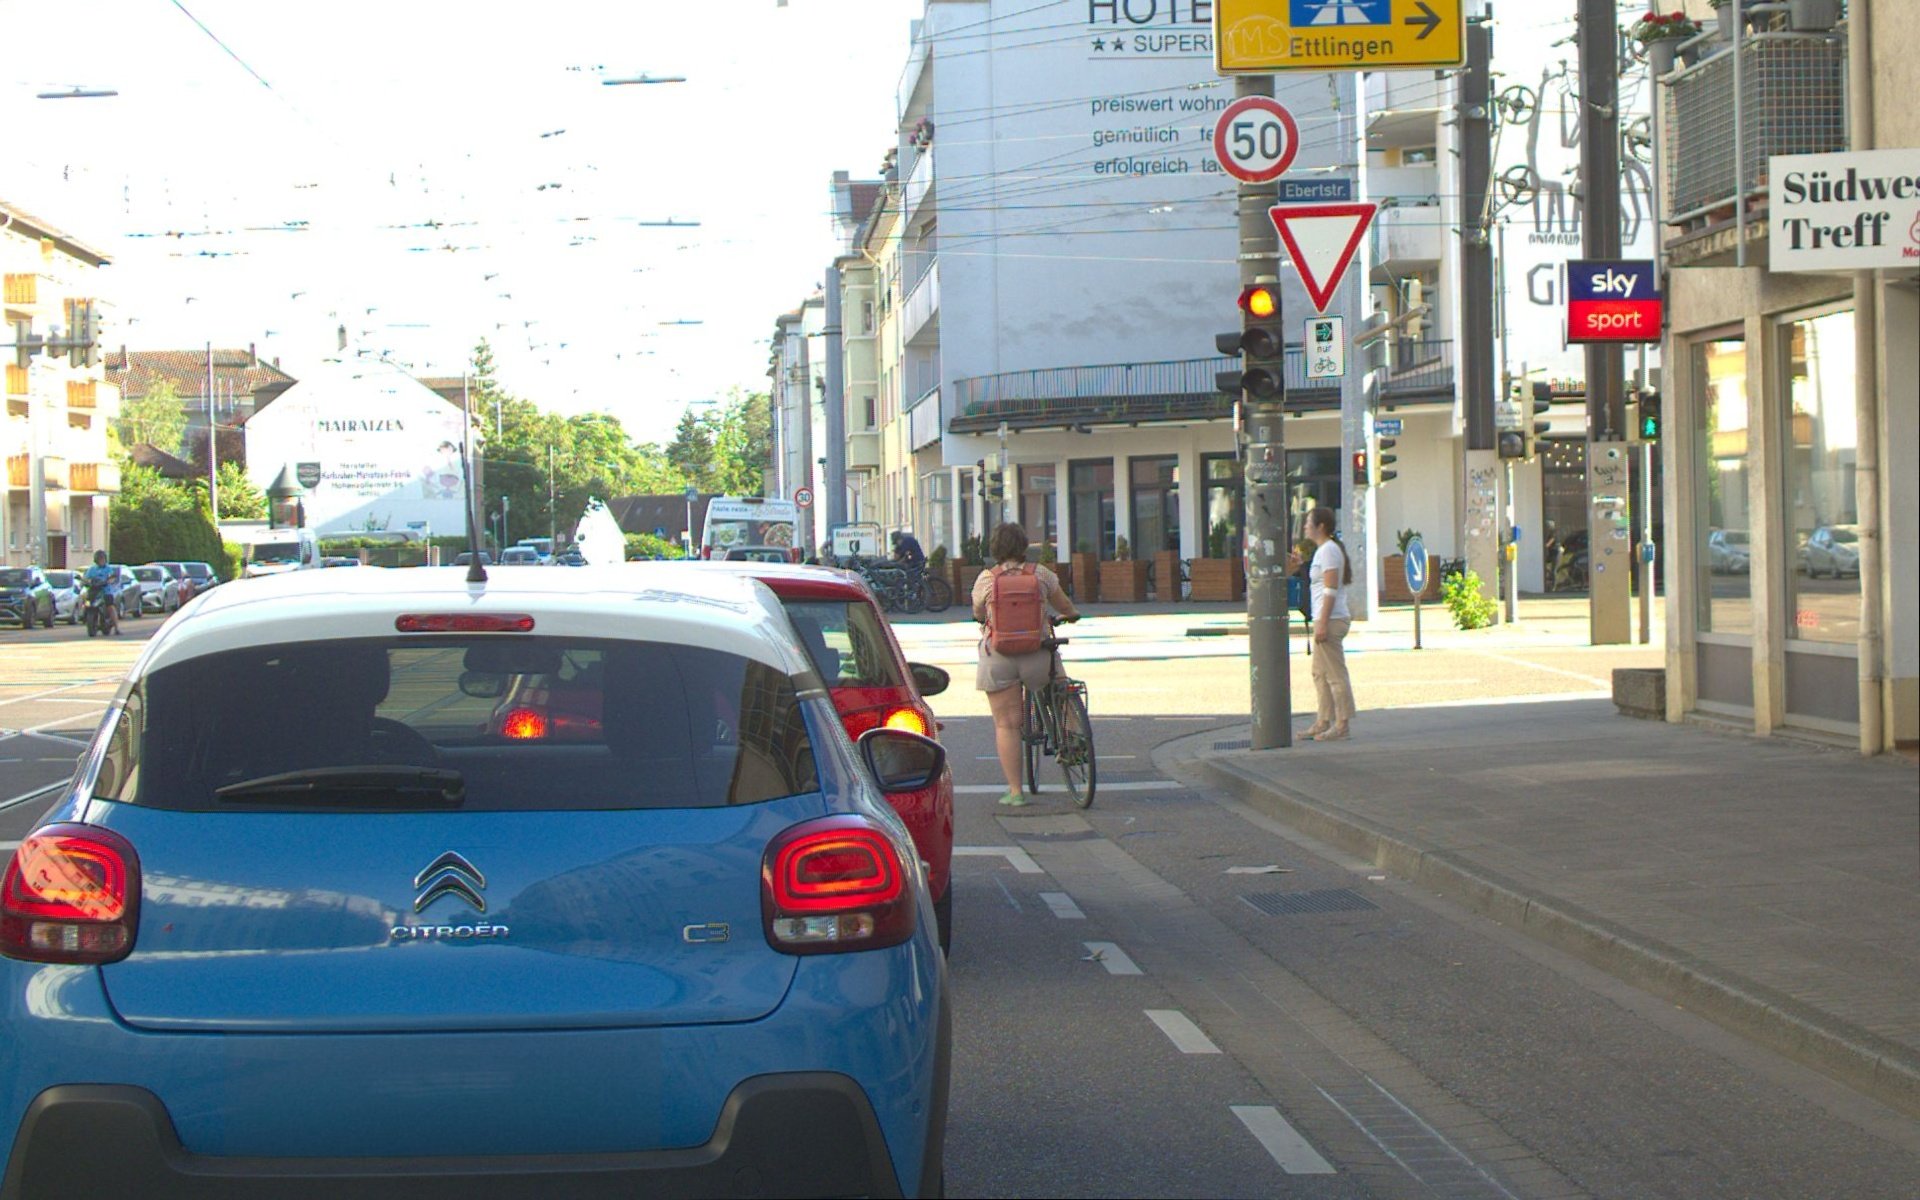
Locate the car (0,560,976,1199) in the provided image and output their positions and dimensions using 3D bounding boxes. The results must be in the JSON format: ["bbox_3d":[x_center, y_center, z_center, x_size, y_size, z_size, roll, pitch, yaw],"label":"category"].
[{"bbox_3d":[-0.957,0.669,7.385,1.680,1.457,4.001,0,1,-4],"label":"car"}]

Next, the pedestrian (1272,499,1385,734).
[{"bbox_3d":[2.609,0.106,24.385,0.751,1.629,0.740,-1,1,6],"label":"pedestrian"}]

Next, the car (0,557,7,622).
[{"bbox_3d":[-23.320,-0.194,79.234,1.950,1.514,4.001,-1,1,-6],"label":"car"}]

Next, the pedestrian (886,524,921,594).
[{"bbox_3d":[-1.152,-0.848,70.268,0.525,1.415,0.546,-1,1,20],"label":"pedestrian"}]

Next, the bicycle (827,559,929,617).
[{"bbox_3d":[-1.606,-0.238,67.130,1.904,1.061,0.642,-1,1,-7],"label":"bicycle"}]

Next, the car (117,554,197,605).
[{"bbox_3d":[-25.359,-0.673,108.666,1.950,1.514,4.001,-1,1,-6],"label":"car"}]

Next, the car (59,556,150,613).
[{"bbox_3d":[-24.458,-0.459,98.383,1.950,1.514,4.001,-1,1,-6],"label":"car"}]

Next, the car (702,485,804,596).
[{"bbox_3d":[-4.432,-1.279,73.250,2.079,2.262,5.652,0,1,-4],"label":"car"}]

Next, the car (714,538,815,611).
[{"bbox_3d":[-3.881,-0.517,67.815,1.786,1.354,3.915,-1,1,-6],"label":"car"}]

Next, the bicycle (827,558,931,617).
[{"bbox_3d":[-1.557,-0.244,65.824,1.904,1.061,0.642,-1,1,-7],"label":"bicycle"}]

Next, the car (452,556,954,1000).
[{"bbox_3d":[-1.004,0.577,13.594,1.680,1.457,4.001,0,1,-4],"label":"car"}]

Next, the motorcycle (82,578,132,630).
[{"bbox_3d":[-16.693,0.072,67.296,0.751,0.973,2.098,-1,1,-9],"label":"motorcycle"}]

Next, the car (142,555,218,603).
[{"bbox_3d":[-26.069,-0.722,115.008,1.950,1.514,4.001,-1,1,-6],"label":"car"}]

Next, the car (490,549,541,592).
[{"bbox_3d":[-22.047,-1.504,170.850,2.338,2.032,5.051,-1,1,-6],"label":"car"}]

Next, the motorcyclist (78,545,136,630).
[{"bbox_3d":[-16.674,-0.253,67.222,0.991,1.625,0.739,-1,1,-9],"label":"motorcyclist"}]

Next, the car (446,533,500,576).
[{"bbox_3d":[-19.153,-1.817,135.323,2.004,1.622,5.054,-1,1,-7],"label":"car"}]

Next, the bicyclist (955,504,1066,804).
[{"bbox_3d":[0.292,0.303,20.609,0.600,1.740,1.084,-1,1,-1],"label":"bicyclist"}]

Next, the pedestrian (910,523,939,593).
[{"bbox_3d":[-0.719,-0.850,70.016,0.467,1.415,0.527,-1,1,-13],"label":"pedestrian"}]

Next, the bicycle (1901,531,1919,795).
[{"bbox_3d":[4.916,0.312,15.763,0.640,1.260,1.911,-1,1,-1],"label":"bicycle"}]

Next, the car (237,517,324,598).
[{"bbox_3d":[-23.662,-1.505,119.945,2.493,2.703,5.839,-1,1,-7],"label":"car"}]

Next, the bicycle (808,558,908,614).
[{"bbox_3d":[-2.025,-0.276,68.323,1.904,1.061,0.642,-1,1,-7],"label":"bicycle"}]

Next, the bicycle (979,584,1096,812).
[{"bbox_3d":[0.450,0.559,20.652,0.613,1.260,1.911,-1,1,-1],"label":"bicycle"}]

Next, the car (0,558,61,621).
[{"bbox_3d":[-23.785,-0.268,85.899,1.950,1.514,4.001,-1,1,-6],"label":"car"}]

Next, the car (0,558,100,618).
[{"bbox_3d":[-24.306,-0.336,91.956,1.950,1.514,4.001,-1,1,-6],"label":"car"}]

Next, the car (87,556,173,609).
[{"bbox_3d":[-24.926,-0.543,103.387,1.950,1.514,4.001,-1,1,-6],"label":"car"}]

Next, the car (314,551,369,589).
[{"bbox_3d":[-25.977,-1.282,144.578,1.950,1.514,4.001,-1,1,-6],"label":"car"}]
